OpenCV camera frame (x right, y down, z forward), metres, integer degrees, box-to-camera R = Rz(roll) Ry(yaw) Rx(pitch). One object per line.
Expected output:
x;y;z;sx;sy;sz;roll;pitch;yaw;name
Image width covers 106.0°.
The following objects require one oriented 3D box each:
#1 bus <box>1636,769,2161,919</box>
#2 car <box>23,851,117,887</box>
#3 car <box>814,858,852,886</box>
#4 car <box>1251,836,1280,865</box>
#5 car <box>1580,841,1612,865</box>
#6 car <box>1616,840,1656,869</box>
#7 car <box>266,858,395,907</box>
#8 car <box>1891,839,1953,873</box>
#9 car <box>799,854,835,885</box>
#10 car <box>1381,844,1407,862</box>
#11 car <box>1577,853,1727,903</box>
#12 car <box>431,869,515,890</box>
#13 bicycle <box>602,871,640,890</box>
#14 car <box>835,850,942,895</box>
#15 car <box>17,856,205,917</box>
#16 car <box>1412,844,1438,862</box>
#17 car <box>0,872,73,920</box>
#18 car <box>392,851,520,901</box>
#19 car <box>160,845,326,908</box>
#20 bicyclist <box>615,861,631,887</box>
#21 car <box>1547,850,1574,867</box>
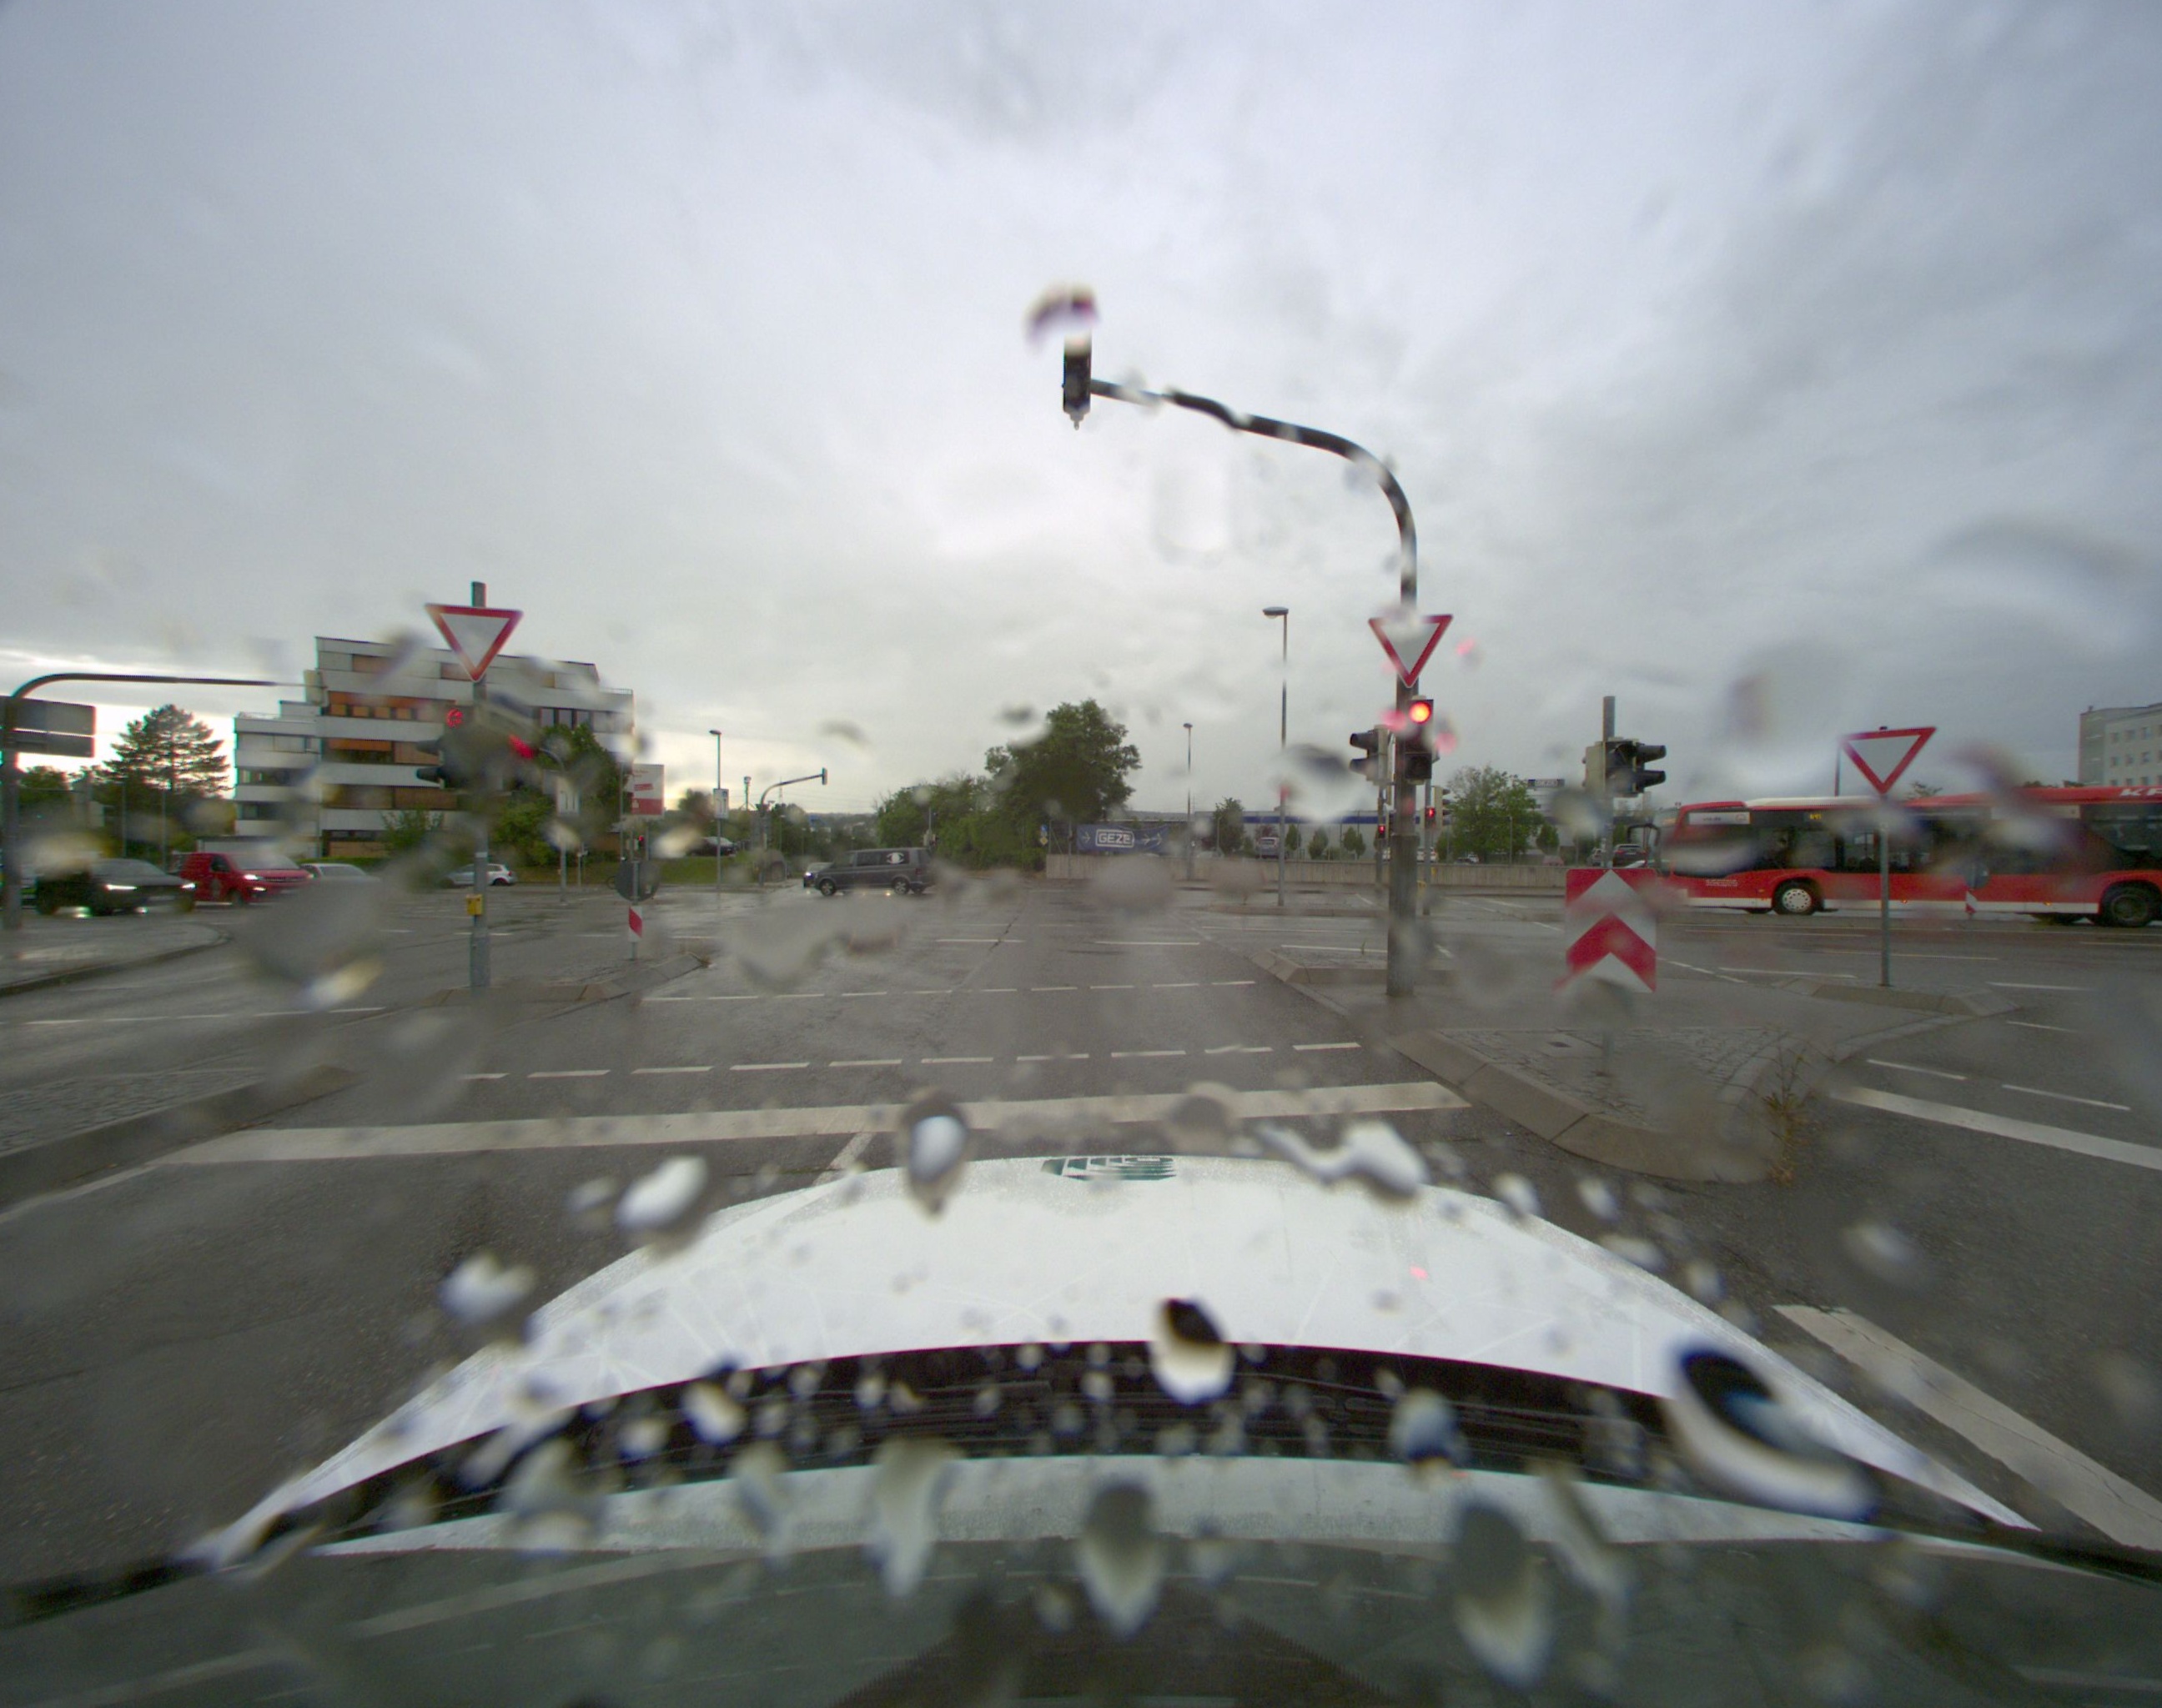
21.593;-0.292;20.514;12.174;3.321;3.090;1;1;20;bus
-59.810;0.868;48.186;4.954;2.013;2.010;0;0;20;car
-17.743;1.235;58.382;1.993;1.895;3.988;0;0;-9;car
13.533;-0.261;59.657;1.979;2.013;4.015;0;0;14;car
37.677;-0.060;59.537;1.699;1.715;3.671;0;0;37;car
33.776;0.020;49.502;1.749;1.715;3.671;0;0;38;car
-28.238;1.023;30.652;3.953;1.684;2.011;0;0;21;car
44.658;0.099;43.331;1.749;1.715;3.671;0;0;37;car
-16.472;0.945;50.966;1.998;1.895;3.978;0;0;-16;car
26.880;-0.118;69.877;1.976;1.478;4.022;0;0;22;car
19.779;0.783;28.409;3.952;1.596;1.968;0;0;22;car
-34.606;1.443;46.475;3.522;1.105;1.805;0;0;-25;car
-25.835;1.484;45.767;1.771;1.052;0.609;0;0;-5;bicycle
-8.217;0.741;34.963;3.962;1.848;2.006;0;0;10;car
-28.771;0.946;24.187;4.579;1.679;2.044;-1;0;19;car
29.182;-0.107;69.184;1.976;1.478;4.021;0;0;22;car
-34.706;1.327;26.280;3.420;1.387;1.690;0;0;20;car
-24.609;0.834;32.092;4.108;1.840;2.009;0;0;17;car
-28.398;0.732;27.621;4.733;2.013;2.010;0;0;18;car
-25.740;1.131;45.773;0.542;1.446;0.602;0;0;-4;bicyclist
43.491;0.398;73.854;1.749;1.479;3.671;0;0;37;car
